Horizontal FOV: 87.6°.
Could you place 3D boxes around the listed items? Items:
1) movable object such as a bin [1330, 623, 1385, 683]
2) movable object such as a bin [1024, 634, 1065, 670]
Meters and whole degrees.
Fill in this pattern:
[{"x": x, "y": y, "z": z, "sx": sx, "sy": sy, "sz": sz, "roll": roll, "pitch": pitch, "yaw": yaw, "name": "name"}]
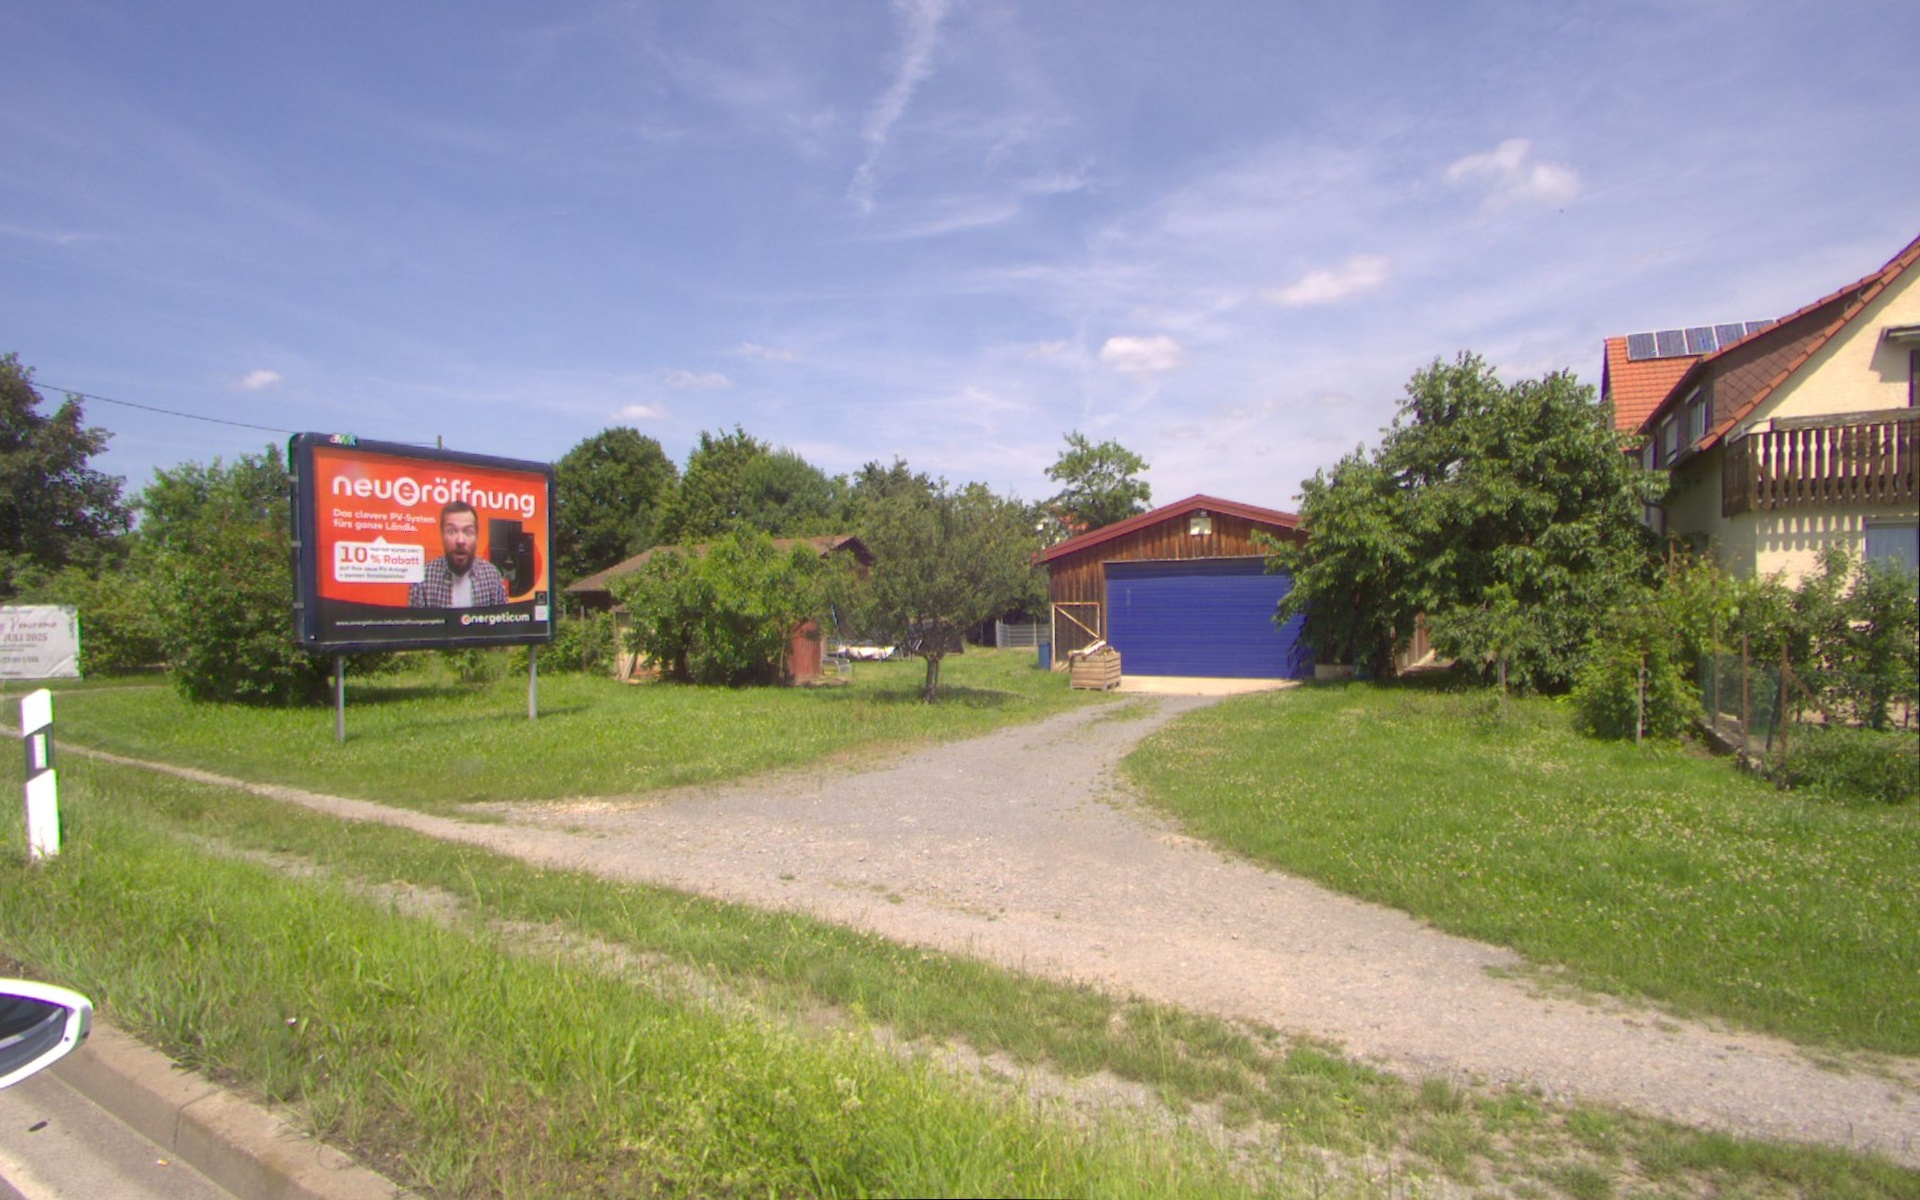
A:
[{"x": 9.783, "y": 1.282, "z": 24.630, "sx": 1.049, "sy": 1.415, "sz": 1.271, "roll": 0, "pitch": 0, "yaw": 33, "name": "movable object such as a bin"}, {"x": 2.578, "y": 1.573, "z": 30.580, "sx": 1.044, "sy": 1.046, "sz": 1.040, "roll": 0, "pitch": 0, "yaw": 17, "name": "movable object such as a bin"}]
